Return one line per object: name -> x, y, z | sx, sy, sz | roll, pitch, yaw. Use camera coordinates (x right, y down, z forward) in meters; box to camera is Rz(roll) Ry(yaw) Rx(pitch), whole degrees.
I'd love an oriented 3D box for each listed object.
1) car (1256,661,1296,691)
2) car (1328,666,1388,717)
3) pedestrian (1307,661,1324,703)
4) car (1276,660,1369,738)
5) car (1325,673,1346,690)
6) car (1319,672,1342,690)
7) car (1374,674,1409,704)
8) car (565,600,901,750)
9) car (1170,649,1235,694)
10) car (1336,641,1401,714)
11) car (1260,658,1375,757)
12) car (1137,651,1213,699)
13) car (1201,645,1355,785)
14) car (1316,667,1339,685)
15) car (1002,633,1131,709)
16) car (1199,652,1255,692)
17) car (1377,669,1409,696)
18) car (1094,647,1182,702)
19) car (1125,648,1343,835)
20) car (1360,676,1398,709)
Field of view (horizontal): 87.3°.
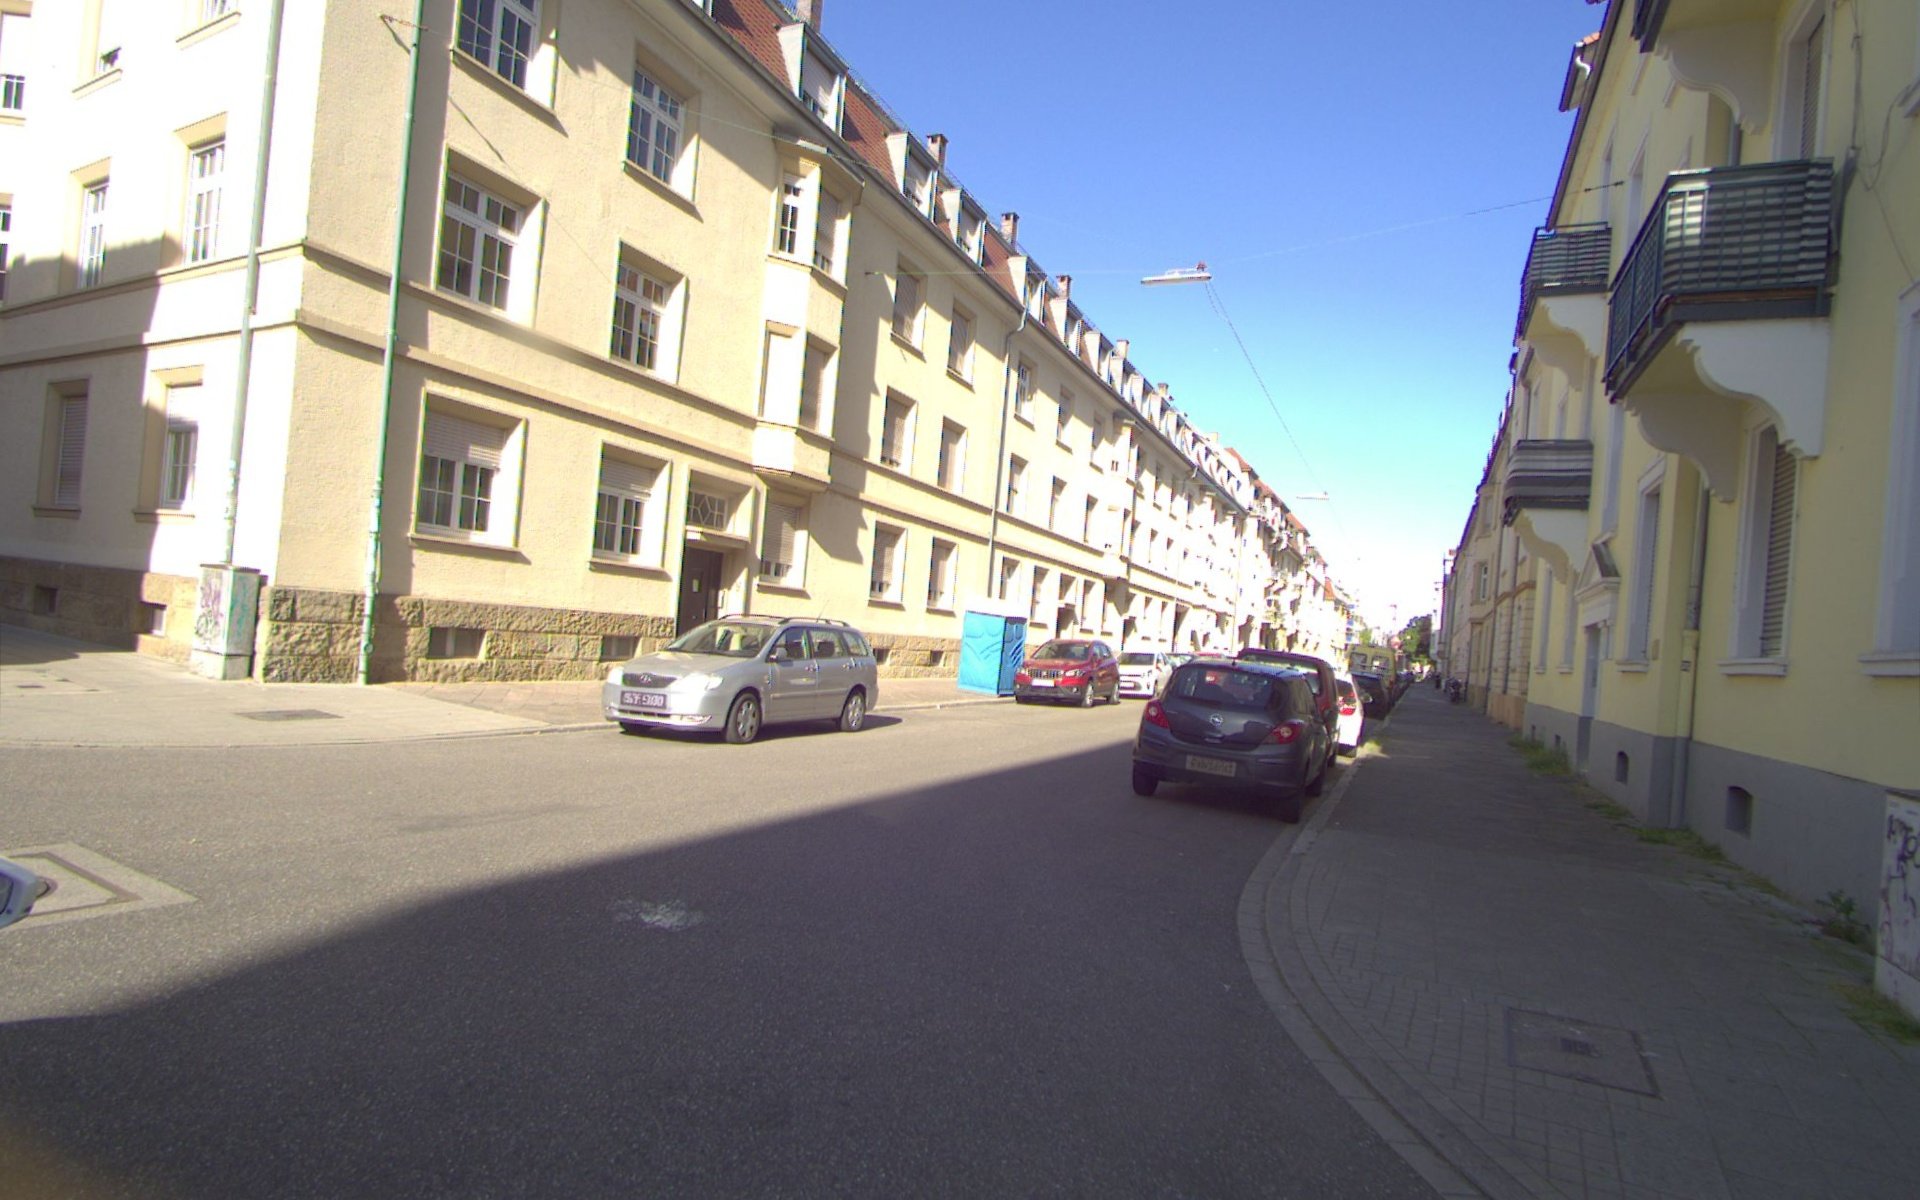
car -> 18.491, 4.413, 58.719 | 1.722, 1.546, 4.125 | 3, -3, 24
car -> 13.822, 3.111, 34.789 | 1.662, 1.451, 3.866 | 7, -1, 24
pedestrian -> 15.159, 3.479, 42.861 | 0.522, 1.737, 0.610 | 5, 0, 24
car -> 8.544, 2.263, 23.540 | 1.662, 1.451, 3.866 | 7, -1, 24
car -> 38.447, 8.310, 102.922 | 1.722, 1.546, 4.125 | 3, -3, 24
car -> 35.464, 7.721, 96.192 | 1.722, 1.546, 4.125 | 3, -3, 24
car -> 25.180, 5.144, 58.687 | 1.662, 1.451, 3.866 | 7, -1, 24
car -> -2.618, 0.932, 12.894 | 1.796, 1.485, 4.551 | 3, -3, 24
car -> 9.649, 2.826, 39.843 | 1.722, 1.546, 4.125 | 3, -3, 24
car -> 16.209, 3.037, 39.800 | 1.990, 2.473, 4.926 | 7, -1, 24
car -> 6.893, 1.970, 19.160 | 1.662, 1.489, 3.866 | 7, -1, 24
car -> 7.563, 2.602, 35.100 | 1.722, 1.487, 4.125 | 3, -3, 24
car -> 4.850, 1.624, 15.030 | 1.662, 1.618, 3.633 | 7, -1, 24
car -> 33.510, 6.917, 91.673 | 1.722, 1.546, 4.125 | 3, -3, 24
car -> 2.721, 1.734, 24.626 | 1.796, 1.572, 4.551 | 3, -3, 24
car -> 11.703, 3.135, 43.900 | 1.722, 1.546, 4.125 | 3, -3, 24
car -> 27.255, 5.175, 63.350 | 1.662, 1.451, 3.866 | 7, -1, 24
car -> 5.587, 2.298, 31.217 | 1.722, 1.487, 4.125 | 3, -3, 24
car -> 3.166, 1.417, 11.100 | 1.662, 1.485, 3.633 | 7, -1, 24
car -> 22.663, 4.957, 54.349 | 1.662, 1.451, 3.866 | 7, -1, 24
